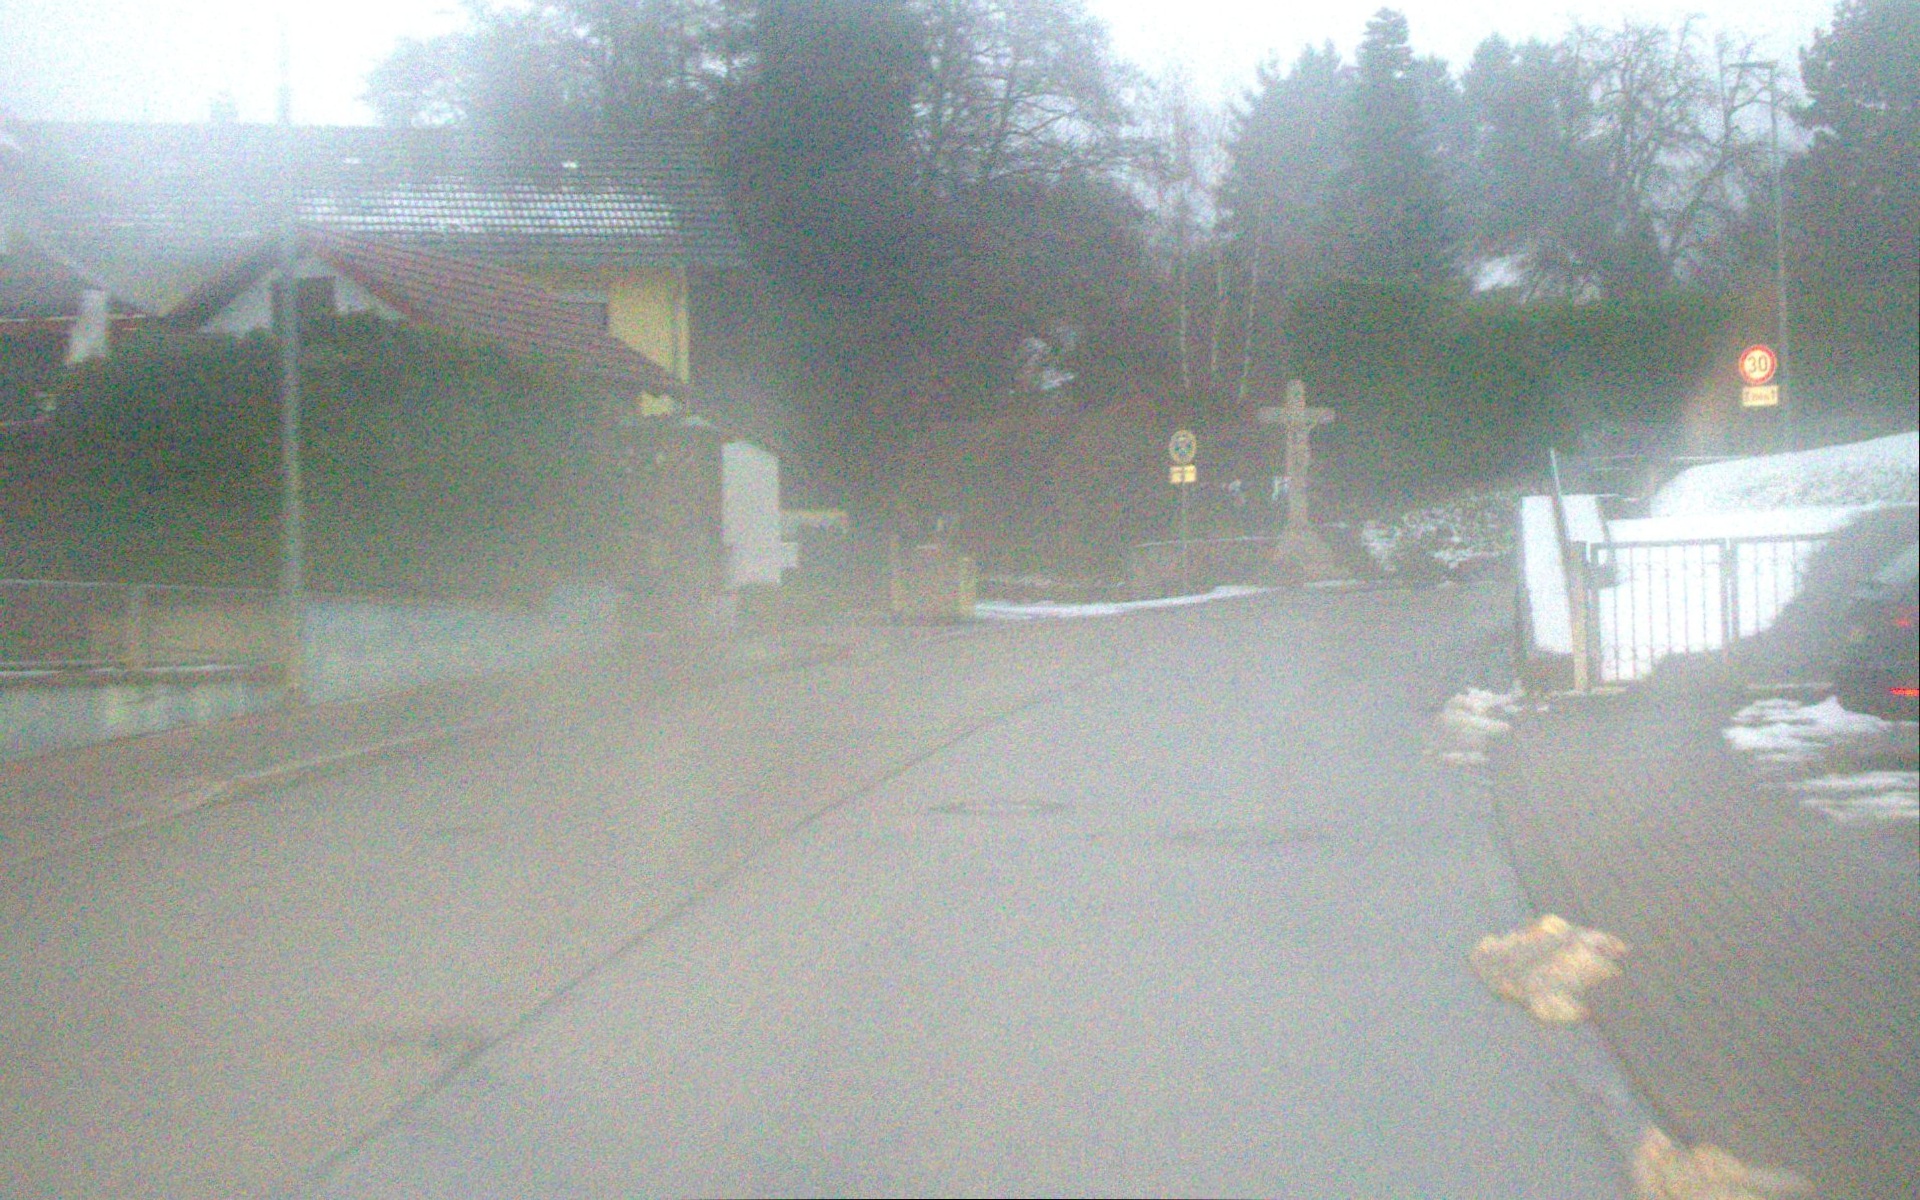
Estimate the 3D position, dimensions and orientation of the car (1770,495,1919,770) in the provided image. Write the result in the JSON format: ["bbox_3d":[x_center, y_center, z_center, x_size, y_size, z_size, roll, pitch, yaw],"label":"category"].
[{"bbox_3d":[7.007,0.064,19.244,4.505,1.438,2.000,-2,1,5],"label":"car"}]
